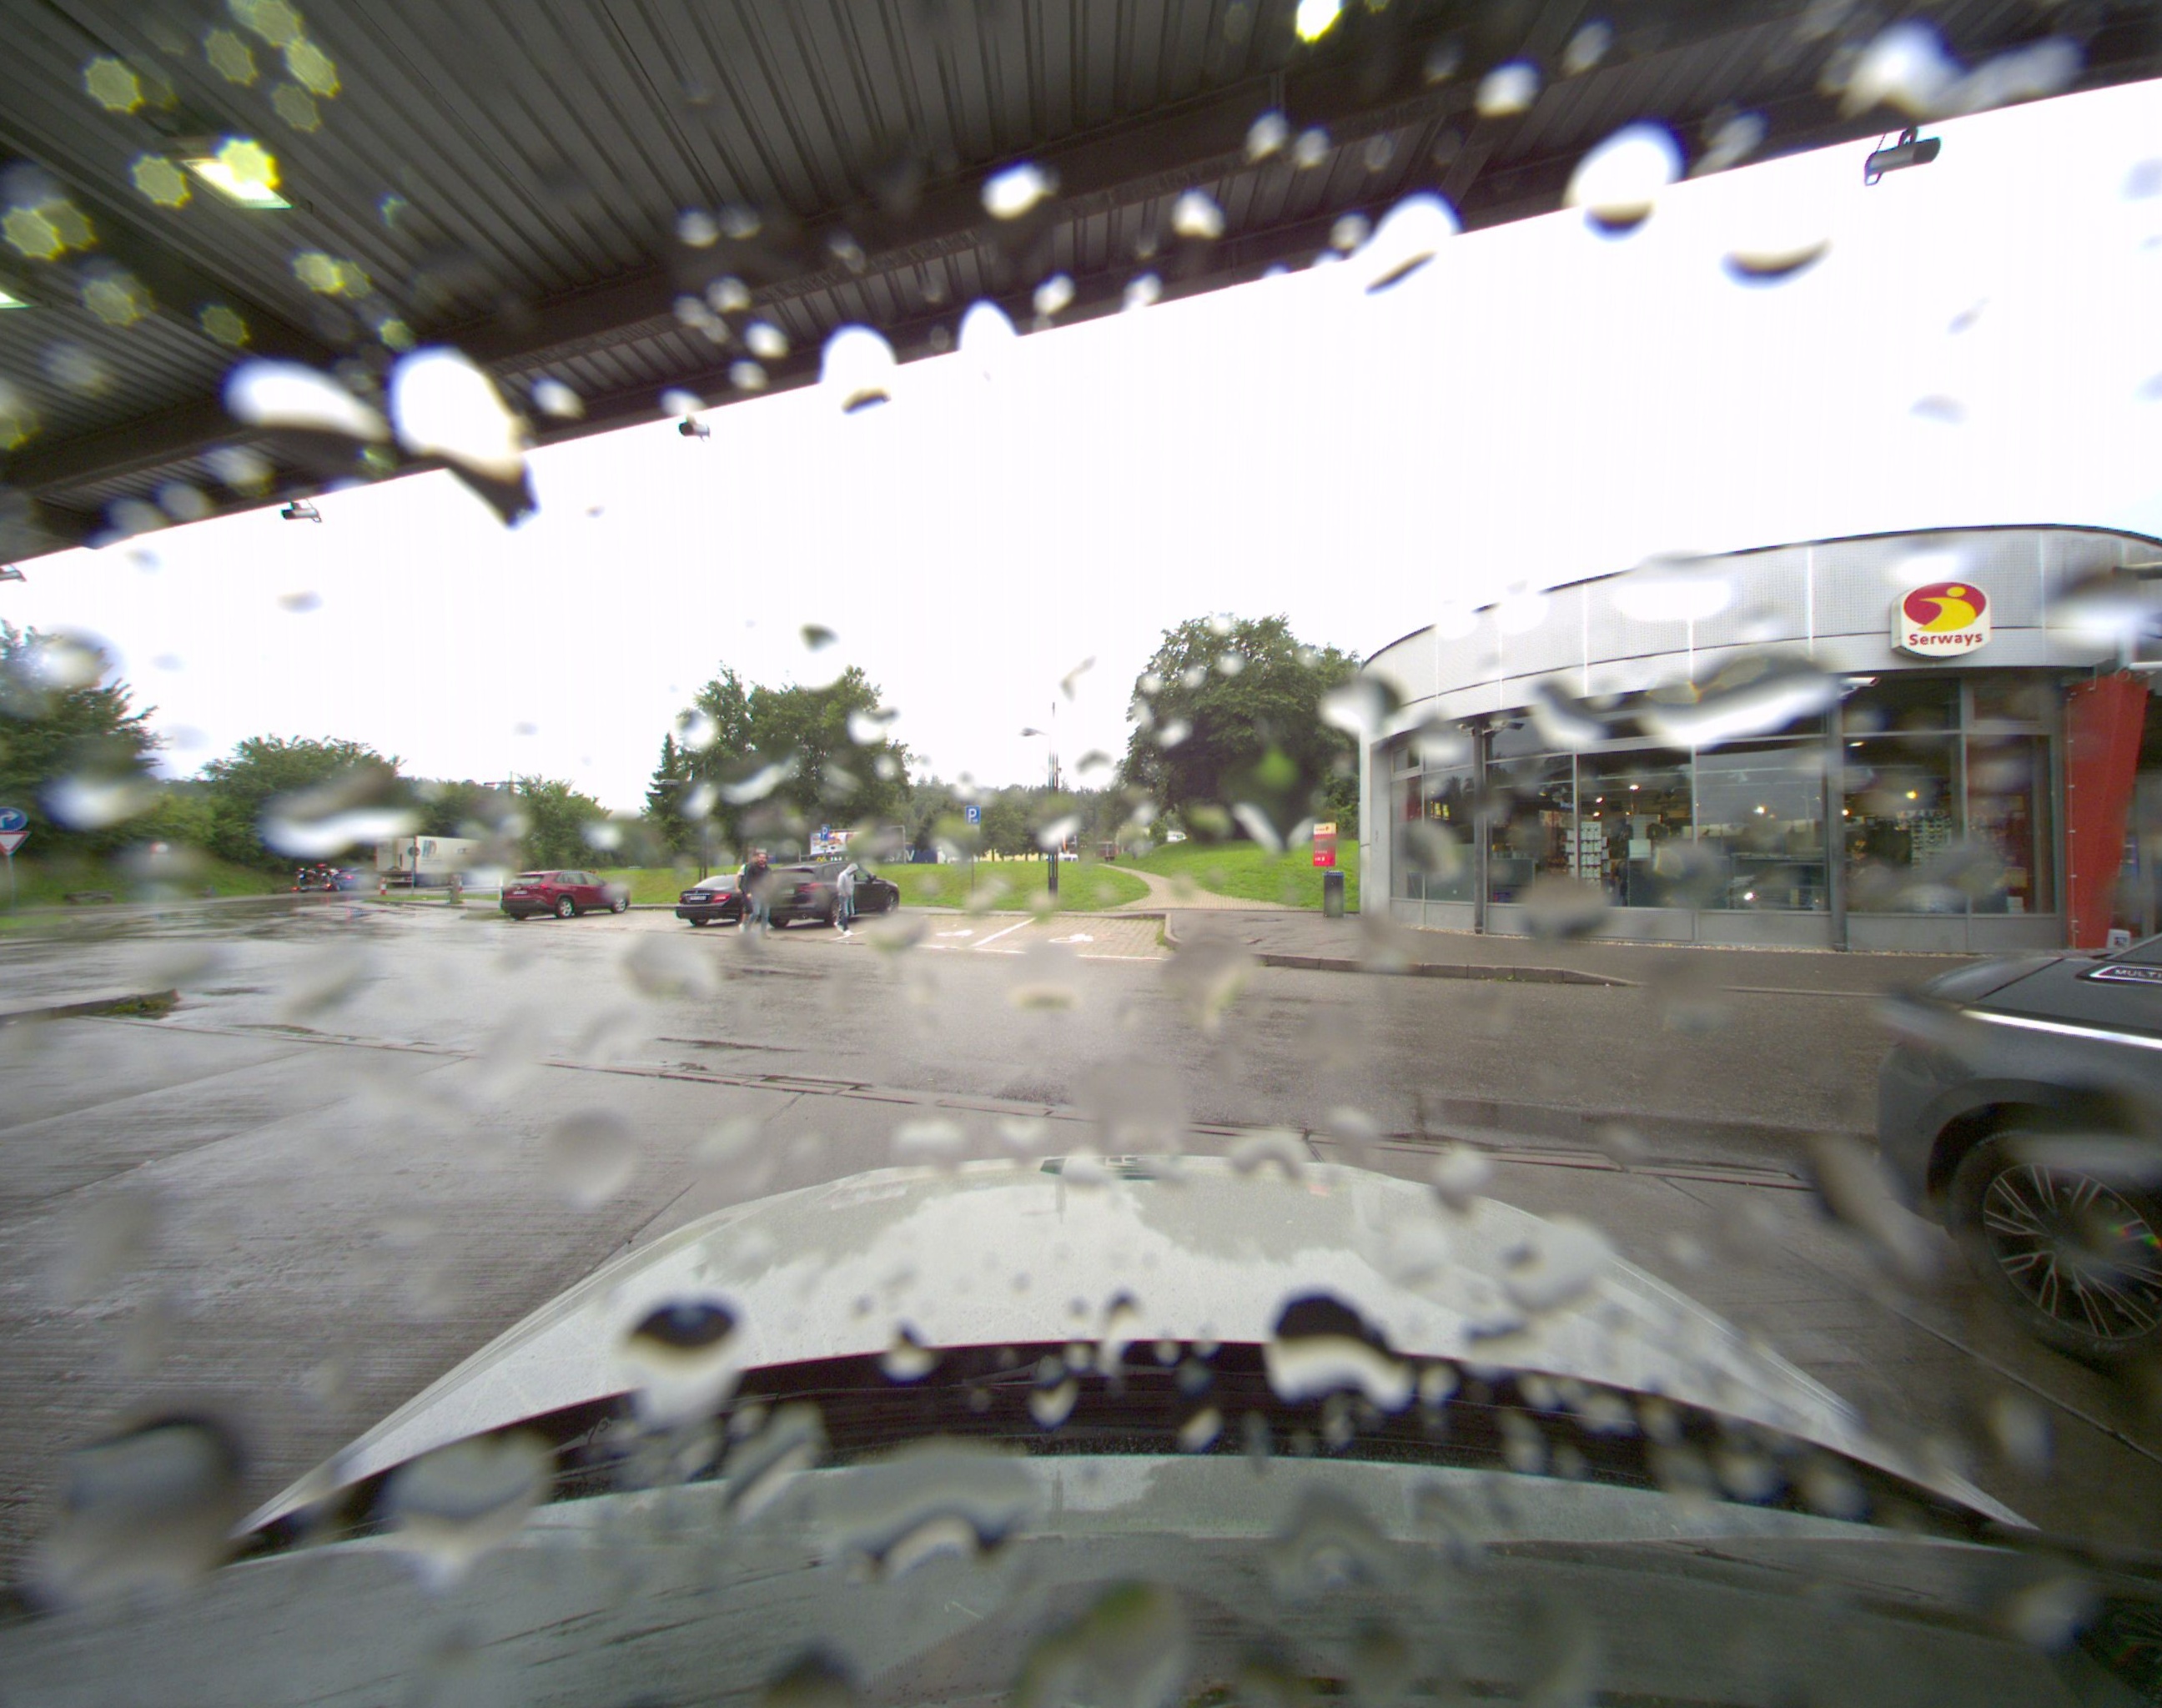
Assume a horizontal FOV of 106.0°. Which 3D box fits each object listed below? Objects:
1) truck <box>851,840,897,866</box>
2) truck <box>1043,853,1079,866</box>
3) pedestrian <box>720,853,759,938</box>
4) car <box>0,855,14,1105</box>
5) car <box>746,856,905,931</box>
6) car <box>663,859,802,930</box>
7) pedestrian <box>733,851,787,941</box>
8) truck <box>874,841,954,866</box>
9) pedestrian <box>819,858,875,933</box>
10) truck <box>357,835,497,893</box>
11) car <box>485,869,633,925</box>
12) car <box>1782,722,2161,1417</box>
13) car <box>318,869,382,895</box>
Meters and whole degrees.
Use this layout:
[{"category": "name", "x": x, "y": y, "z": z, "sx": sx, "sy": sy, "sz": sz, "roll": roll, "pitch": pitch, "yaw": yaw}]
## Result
[{"category": "truck", "x": -24.193, "y": -0.093, "z": 95.457, "sx": 2.165, "sy": 2.920, "sz": 5.419, "roll": -1, "pitch": -1, "yaw": 27}, {"category": "truck", "x": -3.259, "y": 0.874, "z": 134.109, "sx": 5.356, "sy": 2.014, "sz": 2.381, "roll": -1, "pitch": -1, "yaw": 26}, {"category": "pedestrian", "x": -7.886, "y": 0.933, "z": 18.795, "sx": 0.706, "sy": 1.887, "sz": 0.944, "roll": 0, "pitch": -1, "yaw": -32}, {"category": "car", "x": -7.970, "y": 0.800, "z": 2.680, "sx": 1.854, "sy": 1.608, "sz": 5.273, "roll": 0, "pitch": -1, "yaw": 2}, {"category": "car", "x": -6.652, "y": 0.968, "z": 21.784, "sx": 2.002, "sy": 1.711, "sz": 4.360, "roll": -2, "pitch": 0, "yaw": 14}, {"category": "car", "x": -9.838, "y": 1.078, "z": 23.428, "sx": 2.010, "sy": 1.711, "sz": 4.344, "roll": -2, "pitch": 0, "yaw": 1}, {"category": "pedestrian", "x": -6.948, "y": 0.888, "z": 17.630, "sx": 0.882, "sy": 1.887, "sz": 0.708, "roll": -1, "pitch": -1, "yaw": 33}, {"category": "truck", "x": -20.761, "y": -0.061, "z": 102.349, "sx": 2.165, "sy": 2.920, "sz": 13.175, "roll": -1, "pitch": -1, "yaw": 26}, {"category": "pedestrian", "x": -5.238, "y": 0.905, "z": 18.250, "sx": 0.942, "sy": 1.631, "sz": 0.708, "roll": -1, "pitch": -1, "yaw": 22}, {"category": "truck", "x": -55.451, "y": 0.831, "z": 69.977, "sx": 3.550, "sy": 4.340, "sz": 16.899, "roll": 0, "pitch": -1, "yaw": -18}, {"category": "car", "x": -18.141, "y": 1.437, "z": 28.595, "sx": 1.928, "sy": 1.644, "sz": 4.352, "roll": -2, "pitch": 0, "yaw": 7}, {"category": "car", "x": 3.673, "y": 0.541, "z": 0.682, "sx": 1.854, "sy": 1.798, "sz": 5.142, "roll": 0, "pitch": -1, "yaw": 2}, {"category": "car", "x": -50.349, "y": 1.871, "z": 56.173, "sx": 1.814, "sy": 1.681, "sz": 3.927, "roll": 0, "pitch": -1, "yaw": -18}]
